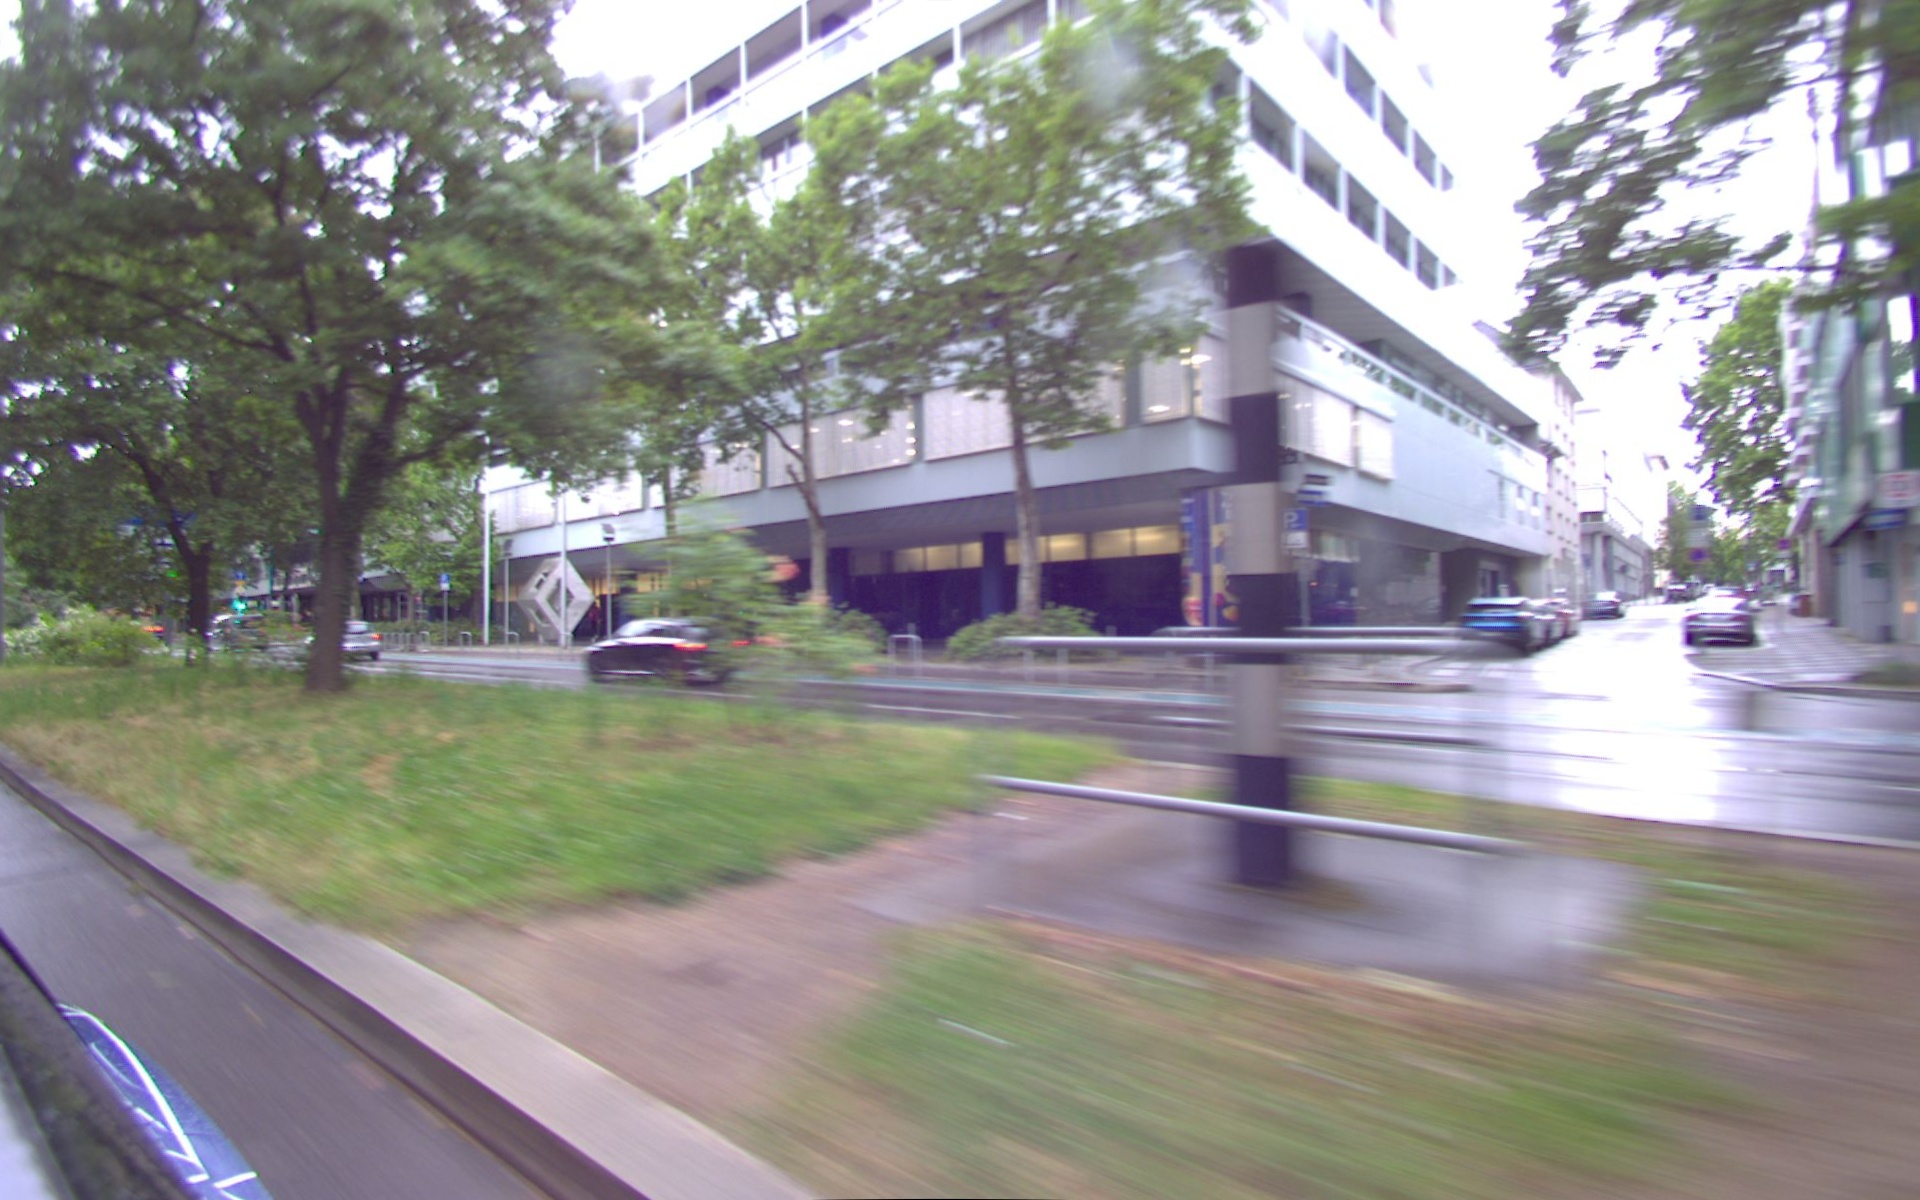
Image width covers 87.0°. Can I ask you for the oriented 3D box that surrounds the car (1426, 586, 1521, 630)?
[{"bbox_3d":[19.469,0.327,38.263,1.999,1.553,4.935,-2,-2,41],"label":"car"}]

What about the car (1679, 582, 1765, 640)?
[{"bbox_3d":[23.957,0.350,31.868,1.997,1.696,3.950,-2,-1,37],"label":"car"}]

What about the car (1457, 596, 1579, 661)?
[{"bbox_3d":[16.202,0.779,29.253,2.000,1.705,4.935,-2,-1,42],"label":"car"}]

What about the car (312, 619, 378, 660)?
[{"bbox_3d":[-22.652,1.439,37.257,3.560,1.473,1.148,-2,-2,43],"label":"car"}]

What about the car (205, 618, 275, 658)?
[{"bbox_3d":[-34.349,1.781,48.236,4.283,1.815,1.971,-2,-2,44],"label":"car"}]

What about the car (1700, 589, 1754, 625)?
[{"bbox_3d":[37.335,0.342,49.318,1.997,1.696,3.950,-2,-1,37],"label":"car"}]

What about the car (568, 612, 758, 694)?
[{"bbox_3d":[-6.796,1.155,22.880,4.758,1.502,1.972,-2,2,45],"label":"car"}]

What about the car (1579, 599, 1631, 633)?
[{"bbox_3d":[34.248,0.822,53.672,1.997,1.696,3.950,-2,-1,37],"label":"car"}]

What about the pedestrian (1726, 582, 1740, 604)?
[{"bbox_3d":[58.311,-0.511,76.358,0.556,1.627,0.561,-1,0,-6],"label":"pedestrian"}]
